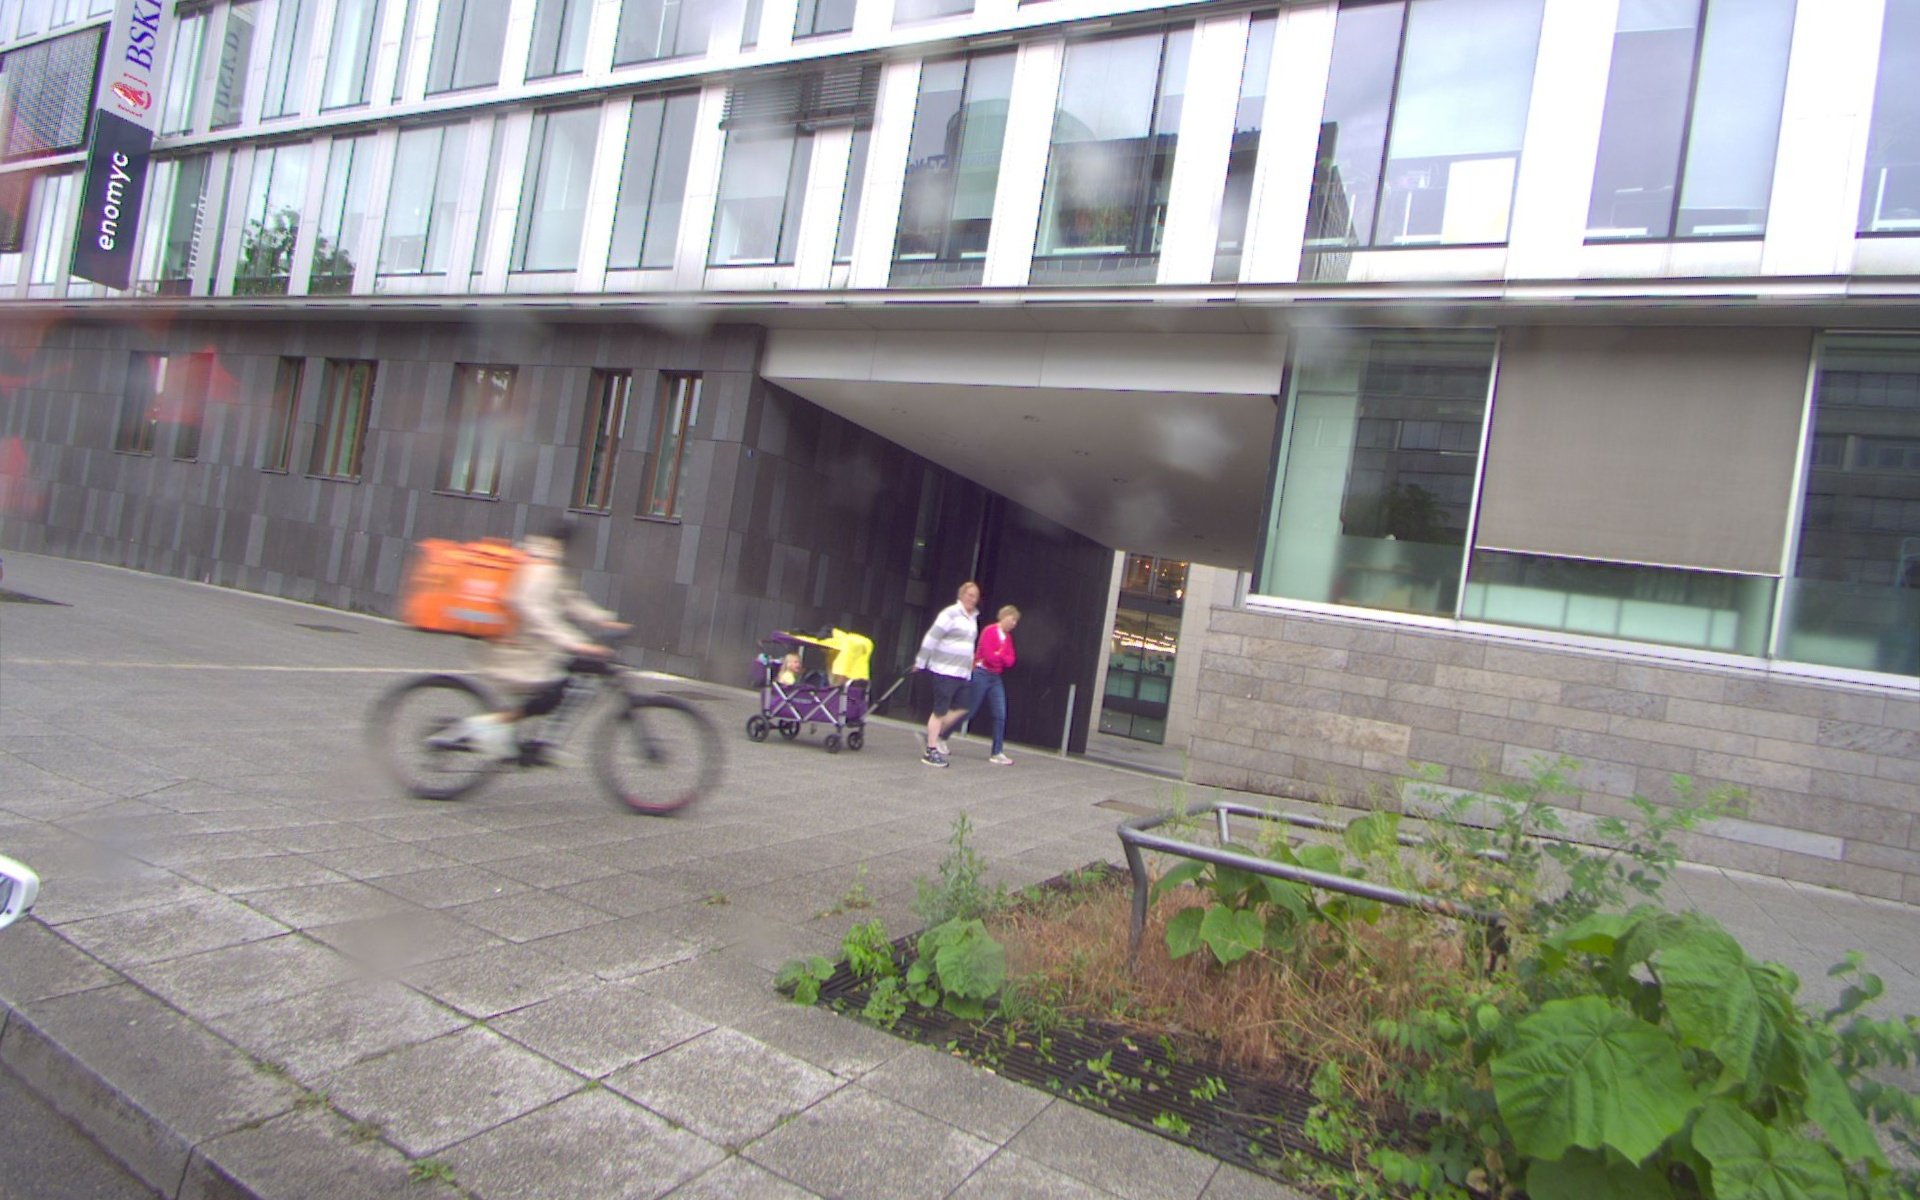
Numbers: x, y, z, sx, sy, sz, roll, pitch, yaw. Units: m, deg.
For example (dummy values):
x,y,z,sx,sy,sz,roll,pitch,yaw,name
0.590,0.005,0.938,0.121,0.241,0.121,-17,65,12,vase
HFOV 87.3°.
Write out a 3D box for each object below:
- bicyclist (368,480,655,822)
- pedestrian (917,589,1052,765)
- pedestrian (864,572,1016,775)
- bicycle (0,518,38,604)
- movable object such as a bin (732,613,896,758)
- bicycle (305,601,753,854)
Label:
x,y,z,sx,sy,sz,roll,pitch,yaw,name
-2.435,0.299,5.675,1.120,1.598,1.012,10,-4,-17,bicyclist
0.266,0.815,10.929,1.080,1.712,0.719,7,1,26,pedestrian
-0.189,0.705,10.036,1.028,1.814,0.901,7,1,26,pedestrian
-13.066,-0.638,12.255,0.665,1.069,2.543,7,-2,27,bicycle
-1.516,0.857,10.456,1.420,1.280,0.732,6,0,29,movable object such as a bin
-2.319,0.719,5.723,2.037,1.126,1.009,8,-4,-18,bicycle
